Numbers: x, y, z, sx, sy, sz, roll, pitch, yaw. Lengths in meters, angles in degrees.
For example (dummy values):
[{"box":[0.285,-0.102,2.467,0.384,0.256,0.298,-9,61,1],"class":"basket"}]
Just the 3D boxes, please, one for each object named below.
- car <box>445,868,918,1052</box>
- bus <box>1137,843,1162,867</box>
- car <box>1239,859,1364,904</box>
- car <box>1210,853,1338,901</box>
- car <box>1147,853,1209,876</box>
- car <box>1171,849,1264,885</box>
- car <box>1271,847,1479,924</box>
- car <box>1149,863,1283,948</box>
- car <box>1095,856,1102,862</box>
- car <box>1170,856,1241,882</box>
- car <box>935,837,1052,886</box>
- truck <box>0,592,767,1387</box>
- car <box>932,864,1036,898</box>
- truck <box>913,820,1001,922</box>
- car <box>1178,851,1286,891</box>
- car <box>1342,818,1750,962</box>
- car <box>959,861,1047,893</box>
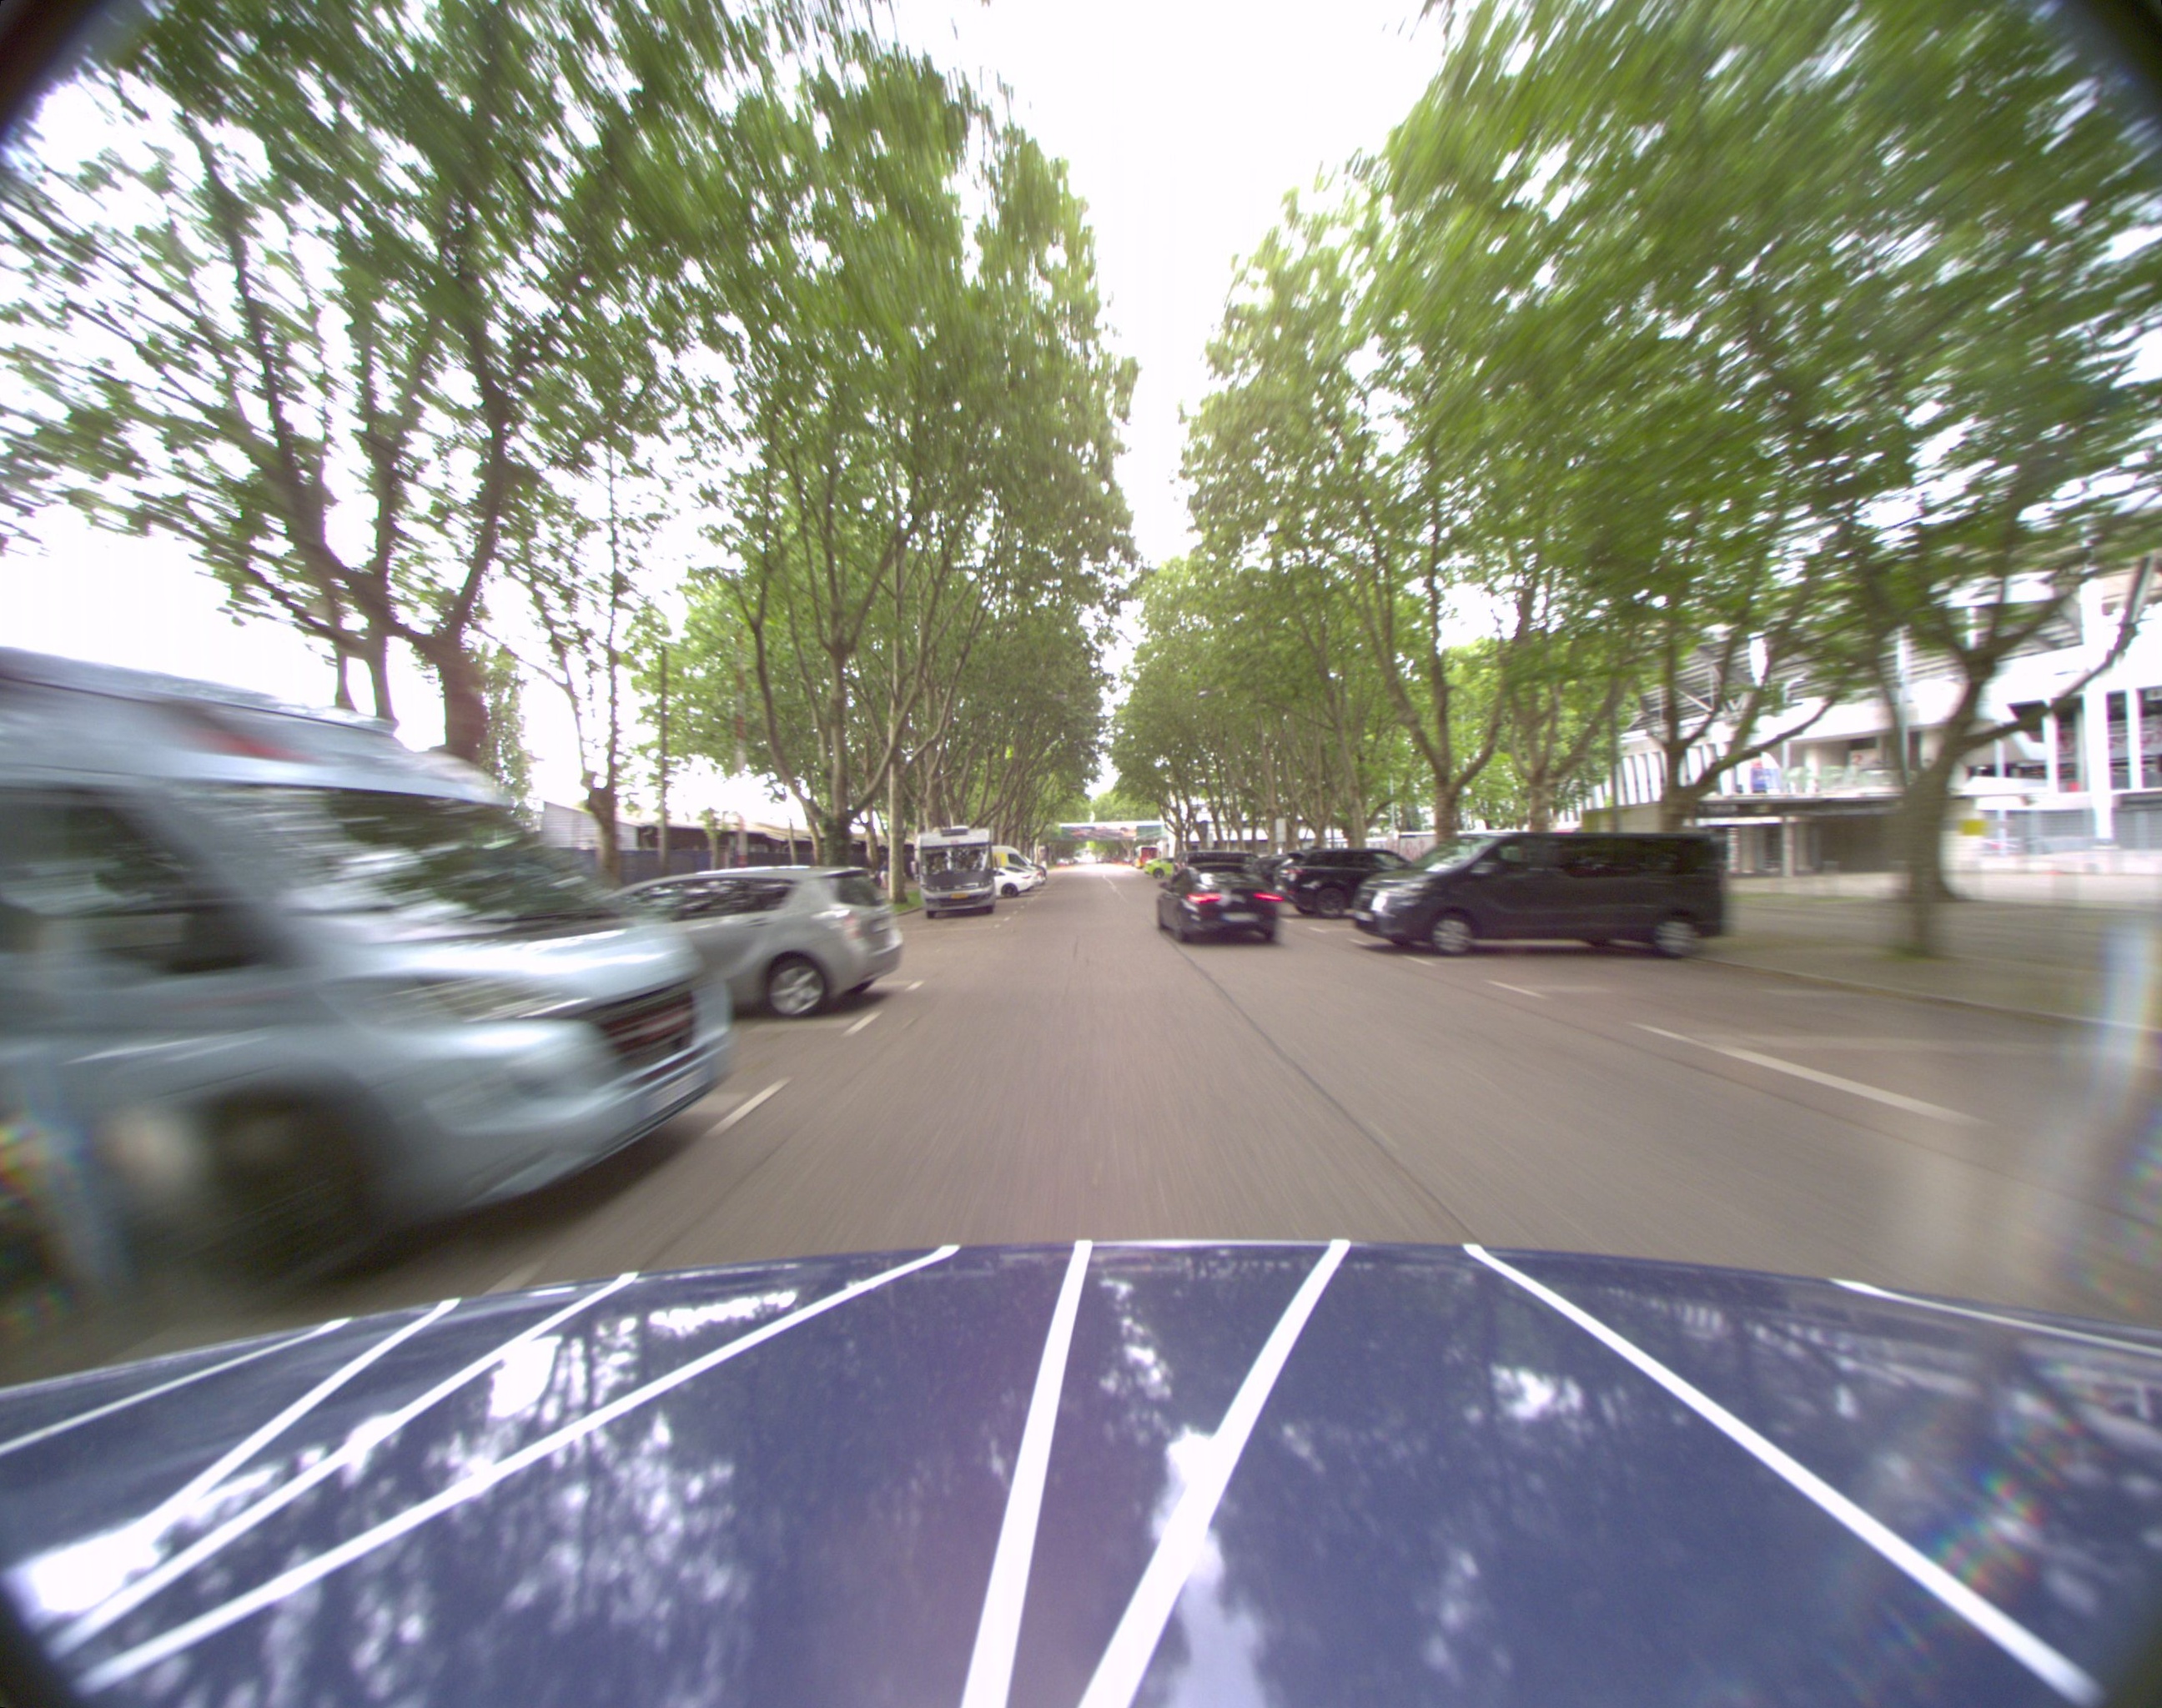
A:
[{"box":[-4.287,1.108,8.620,4.350,1.608,1.804,-3,0,3],"class":"car"},{"box":[9.437,0.098,106.132,2.658,3.136,12.370,1,0,2],"class":"bus"},{"box":[7.786,0.951,27.037,3.907,1.485,1.753,1,0,-2],"class":"car"},{"box":[7.475,0.875,29.733,4.590,1.771,1.798,1,-1,2],"class":"car"},{"box":[7.260,0.781,57.244,4.527,1.608,1.758,-1,0,3],"class":"car"},{"box":[7.548,0.712,42.329,4.774,1.913,2.017,1,0,-1],"class":"car"},{"box":[7.455,0.783,19.588,4.665,1.809,1.806,1,0,0],"class":"car"},{"box":[2.467,0.899,14.853,1.659,1.356,4.111,1,0,-3],"class":"car"},{"box":[4.906,1.384,213.007,1.757,1.652,4.000,-2,0,1],"class":"car"},{"box":[7.775,0.920,47.603,4.117,1.559,1.757,1,0,-4],"class":"car"},{"box":[-5.389,0.460,47.167,6.901,2.679,2.126,-2,0,-6],"class":"car"},{"box":[-5.192,0.585,3.753,6.309,2.699,2.098,-2,0,2],"class":"truck"},{"box":[-4.258,1.186,33.833,4.330,1.294,1.700,-2,0,1],"class":"car"},{"box":[-4.208,0.503,26.297,2.466,2.920,7.533,-2,0,-8],"class":"truck"},{"box":[7.339,0.815,37.453,4.917,1.913,2.208,0,0,1],"class":"car"},{"box":[7.288,0.553,12.308,5.450,2.115,1.940,0,0,-1],"class":"car"},{"box":[-4.049,1.156,39.399,4.373,1.437,1.611,-2,0,-9],"class":"car"}]
